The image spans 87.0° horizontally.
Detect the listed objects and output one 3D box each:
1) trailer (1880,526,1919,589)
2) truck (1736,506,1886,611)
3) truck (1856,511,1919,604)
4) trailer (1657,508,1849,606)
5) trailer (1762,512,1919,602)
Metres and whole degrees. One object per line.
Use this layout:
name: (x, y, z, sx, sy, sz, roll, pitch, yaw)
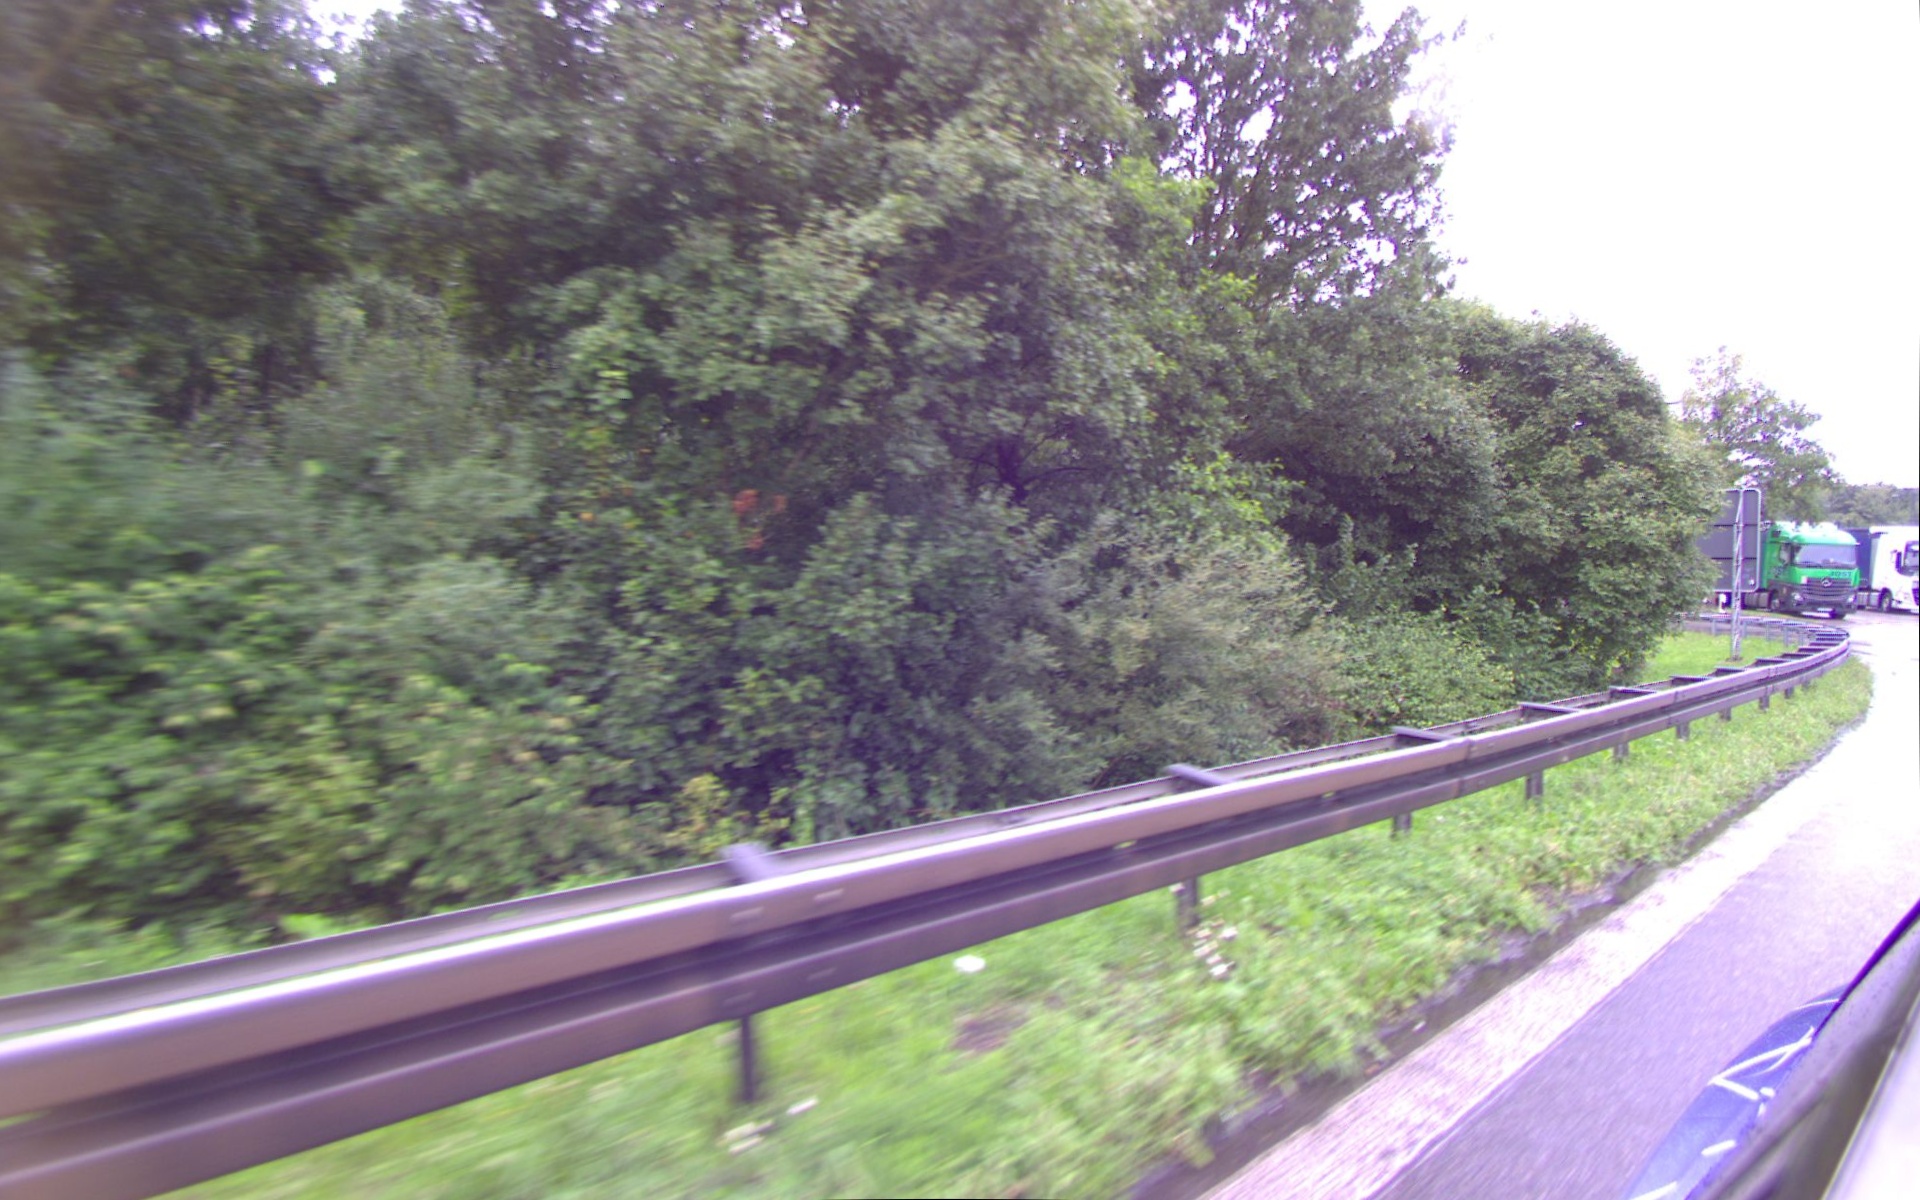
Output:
trailer: (61.127, -2.553, 61.136, 2.808, 3.966, 13.874, 2, 3, 19)
truck: (36.656, -1.853, 43.899, 2.790, 4.200, 5.965, 1, 3, 18)
truck: (45.305, -1.995, 47.595, 2.792, 4.196, 5.271, 1, 3, 20)
trailer: (38.837, -2.204, 50.437, 2.790, 4.199, 13.893, 1, 3, 18)
trailer: (47.727, -2.377, 54.382, 2.791, 4.221, 13.911, 1, 3, 20)
